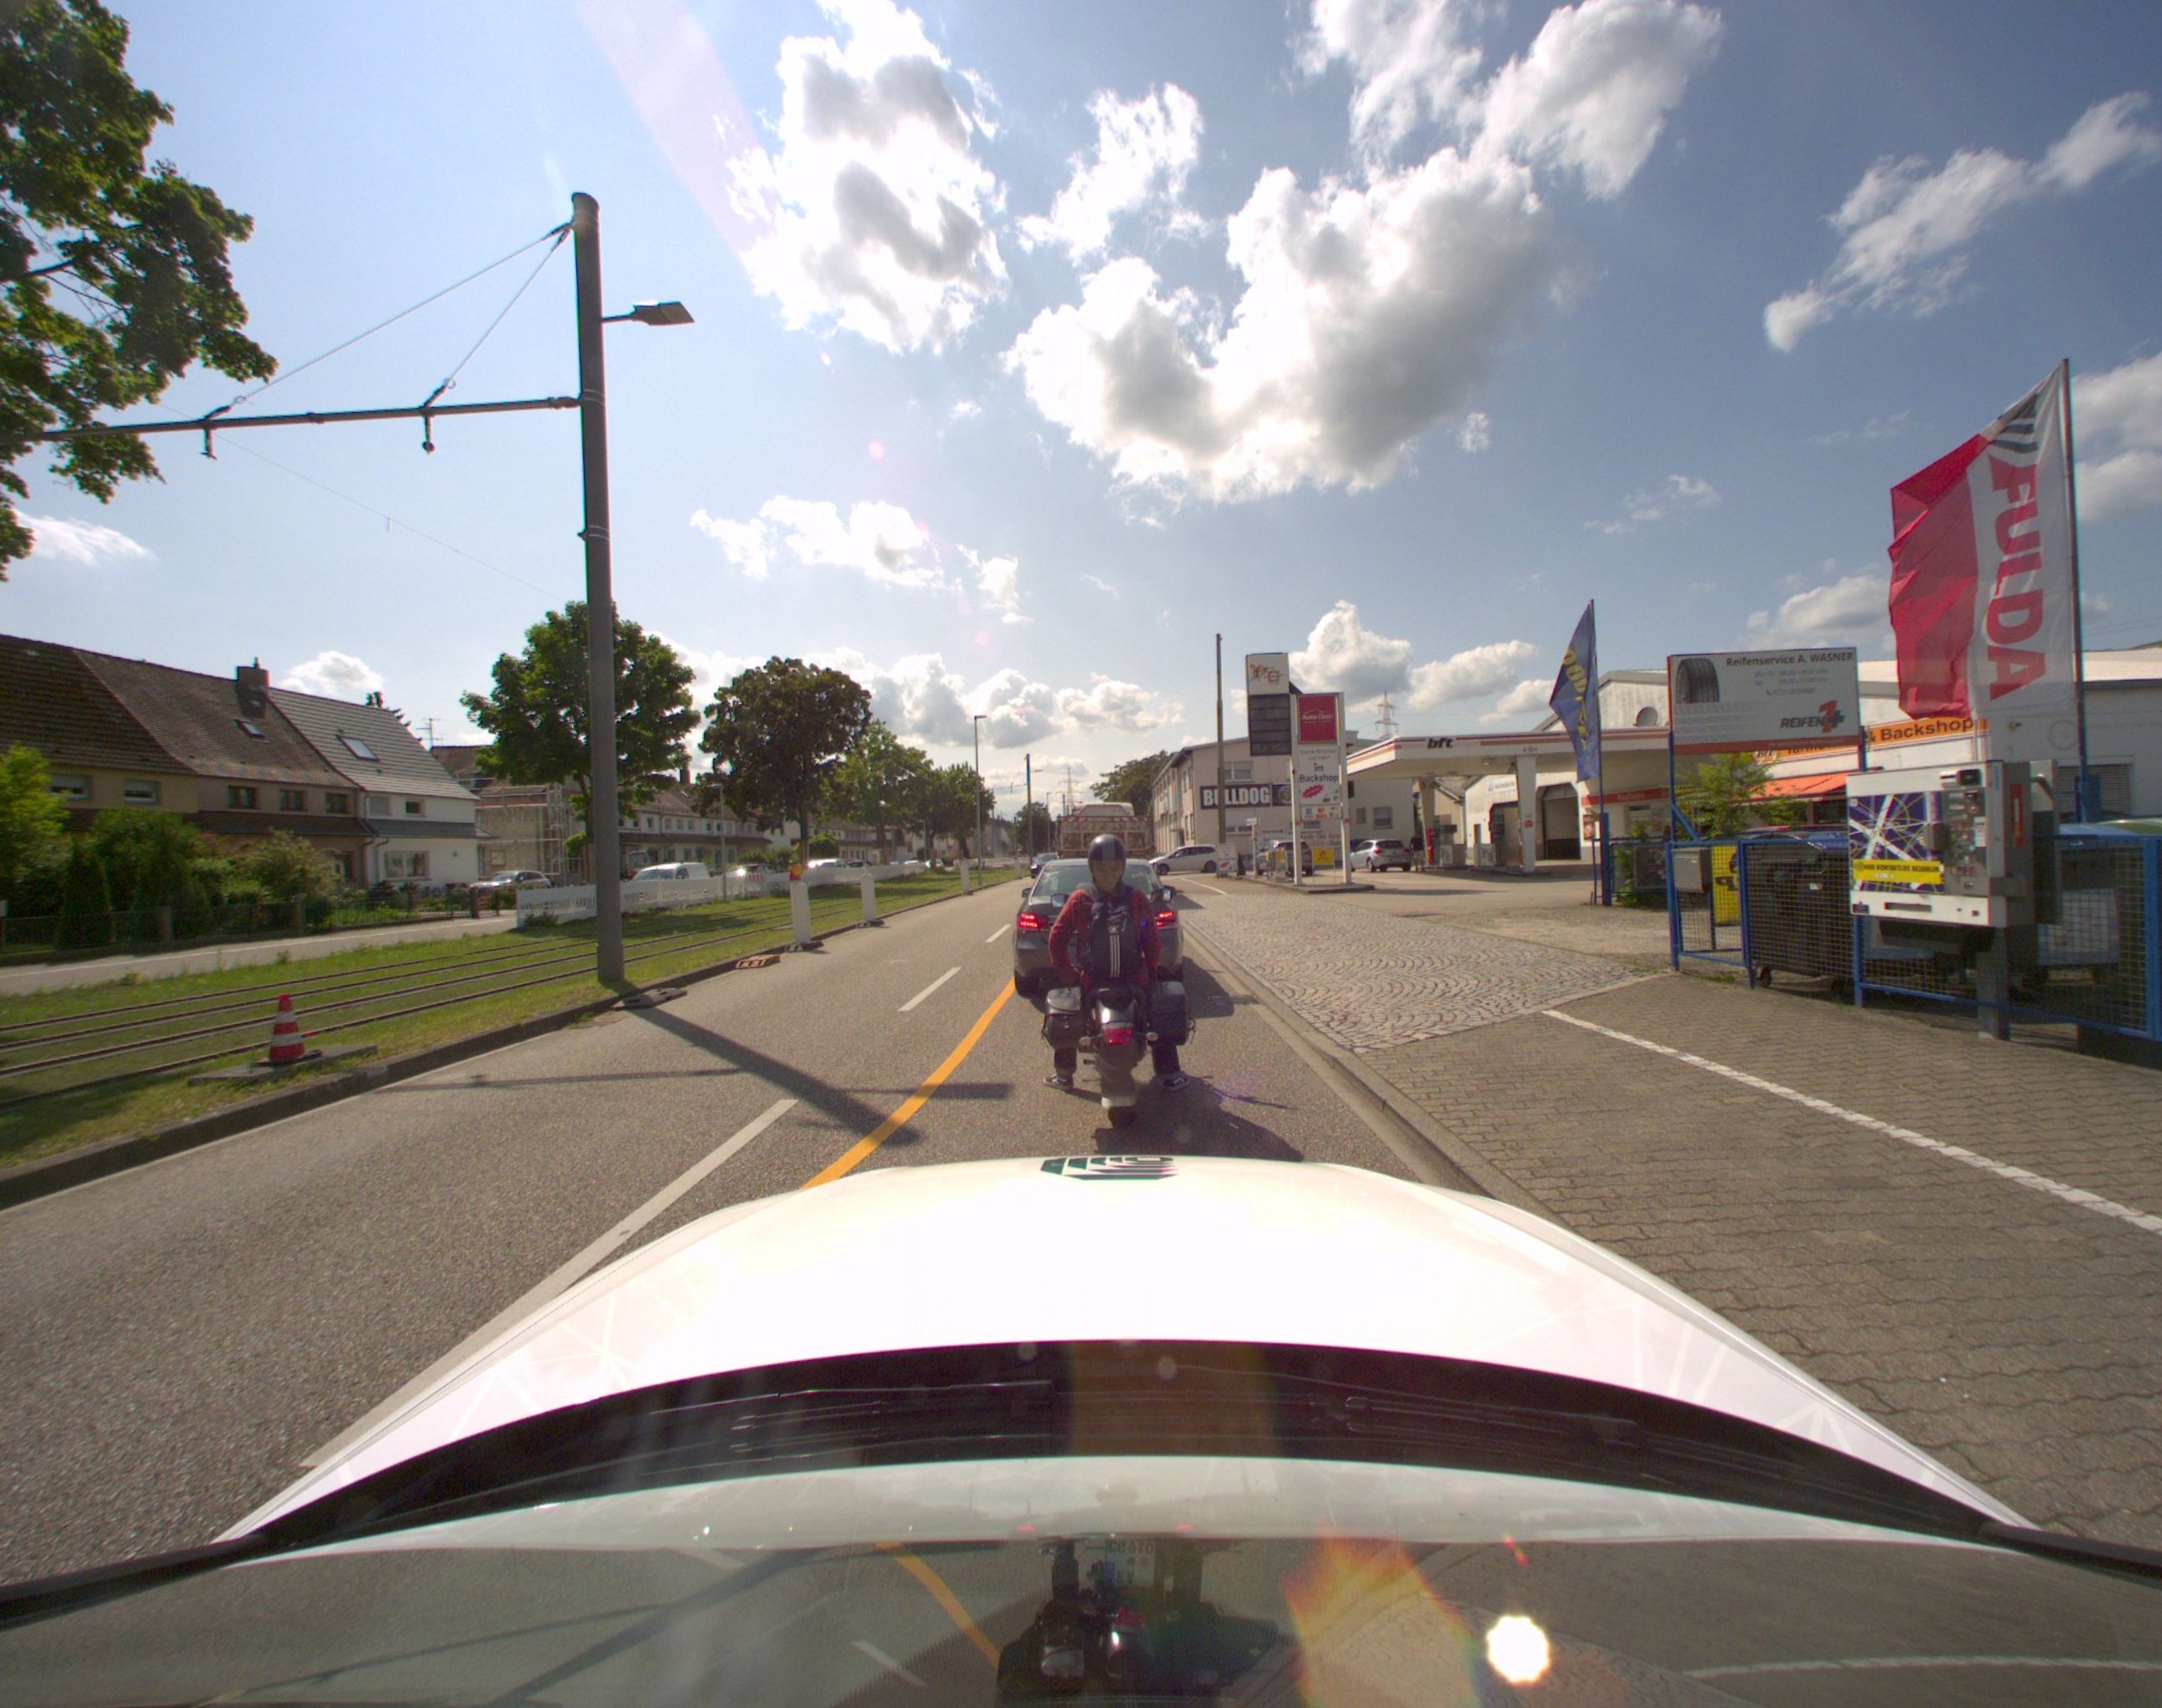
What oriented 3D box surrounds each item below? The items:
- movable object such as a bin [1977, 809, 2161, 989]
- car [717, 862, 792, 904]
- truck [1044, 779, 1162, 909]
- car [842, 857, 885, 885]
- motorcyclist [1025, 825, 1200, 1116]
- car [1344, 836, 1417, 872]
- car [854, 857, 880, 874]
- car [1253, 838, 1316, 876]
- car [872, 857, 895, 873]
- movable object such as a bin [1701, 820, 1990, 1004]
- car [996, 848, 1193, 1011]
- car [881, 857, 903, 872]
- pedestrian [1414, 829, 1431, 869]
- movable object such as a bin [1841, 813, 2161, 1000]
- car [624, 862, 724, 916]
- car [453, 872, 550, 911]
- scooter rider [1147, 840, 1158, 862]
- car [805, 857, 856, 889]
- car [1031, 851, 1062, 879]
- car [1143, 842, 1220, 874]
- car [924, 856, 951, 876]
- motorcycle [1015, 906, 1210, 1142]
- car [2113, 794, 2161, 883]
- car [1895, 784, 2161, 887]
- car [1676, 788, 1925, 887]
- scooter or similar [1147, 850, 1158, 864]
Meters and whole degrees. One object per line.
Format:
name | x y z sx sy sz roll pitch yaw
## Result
movable object such as a bin | 9.450 0.336 7.193 1.425 1.454 1.455 -2 0 0
car | -15.325 1.325 38.490 1.692 1.739 4.056 -2 0 2
truck | 0.643 -0.281 25.607 2.960 3.304 8.407 -2 0 1
car | -14.867 1.140 55.761 1.692 1.739 3.862 -2 0 2
motorcyclist | 0.195 0.655 5.199 0.966 1.633 1.215 -1 0 1
car | 13.539 -0.022 37.072 1.826 1.479 4.009 -3 0 1
car | -24.464 1.301 93.141 1.692 1.739 4.064 -2 0 2
car | 9.069 0.123 36.579 1.826 1.536 4.009 -3 0 1
car | -24.049 1.335 99.344 1.692 1.739 4.064 -2 0 2
movable object such as a bin | 6.825 0.471 7.407 1.222 1.454 1.455 -2 0 0
car | 0.158 0.715 9.808 1.826 1.479 4.009 -3 0 1
car | -24.378 1.343 105.368 1.692 1.739 4.064 -2 0 2
pedestrian | 14.842 -0.208 35.391 0.628 1.683 0.626 -2 0 23
movable object such as a bin | 8.104 0.417 7.283 1.222 1.454 1.455 -2 0 0
car | -15.417 1.278 31.059 1.692 1.817 3.862 -2 0 2
car | -27.479 1.731 38.796 1.692 1.593 3.862 -2 0 2
scooter rider | 6.073 -0.244 69.139 0.792 1.818 0.508 -2 0 1
car | -15.112 1.113 49.395 1.692 1.739 3.862 -2 0 2
car | -2.199 0.644 50.460 1.678 1.624 4.111 -2 0 -5
car | 5.766 0.228 47.052 4.101 1.624 1.682 -3 0 -7
car | -14.050 1.146 79.975 1.692 1.739 3.862 -2 0 2
motorcycle | 0.196 0.933 5.316 0.972 1.013 2.433 -1 0 2
car | 26.353 -0.432 18.188 3.972 2.013 2.001 -2 0 1
car | 21.248 -0.399 18.219 3.972 2.013 2.001 -2 0 1
car | 16.602 -0.370 18.965 3.972 2.013 2.001 -2 0 1
scooter or similar | 6.099 0.280 69.184 0.792 1.144 1.520 -2 0 2
